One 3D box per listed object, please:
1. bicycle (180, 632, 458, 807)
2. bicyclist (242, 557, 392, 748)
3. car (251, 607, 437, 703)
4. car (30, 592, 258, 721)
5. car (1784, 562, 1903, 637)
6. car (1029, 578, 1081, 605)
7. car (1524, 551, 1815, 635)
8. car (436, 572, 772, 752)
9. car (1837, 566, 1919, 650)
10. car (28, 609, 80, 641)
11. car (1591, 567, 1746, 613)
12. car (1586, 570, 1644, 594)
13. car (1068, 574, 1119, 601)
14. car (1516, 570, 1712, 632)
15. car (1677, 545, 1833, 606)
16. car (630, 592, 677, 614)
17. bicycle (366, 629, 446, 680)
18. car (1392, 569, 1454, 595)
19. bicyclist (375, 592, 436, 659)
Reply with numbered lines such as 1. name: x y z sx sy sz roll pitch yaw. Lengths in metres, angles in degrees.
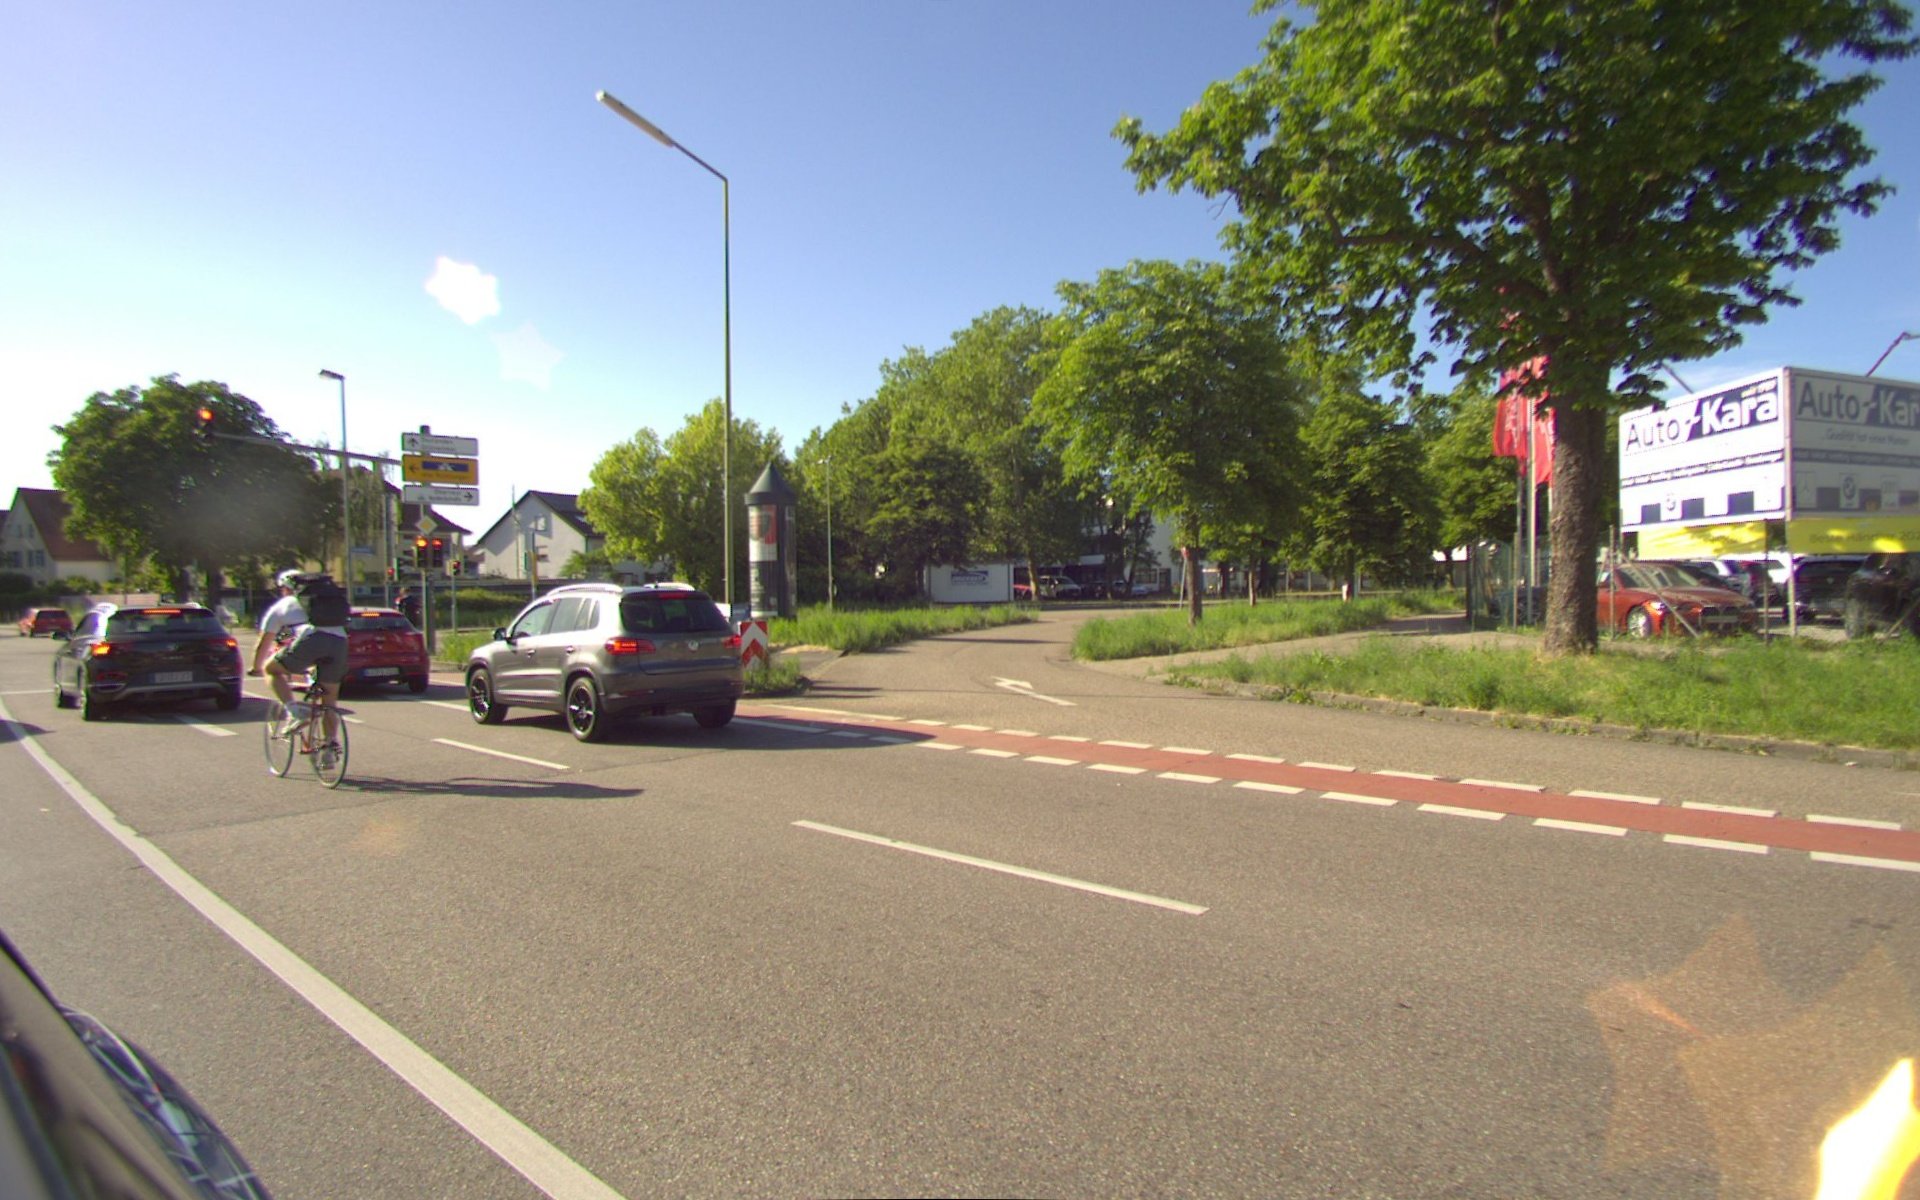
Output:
1. bicycle: -5.520 0.908 8.588 3.205 1.235 0.786 -1 0 35
2. bicyclist: -5.391 0.416 8.492 0.823 1.496 0.766 -2 0 34
3. car: -10.675 0.863 17.433 3.891 1.425 1.765 -1 0 43
4. car: -12.019 0.759 14.820 3.997 1.611 1.893 -2 0 41
5. car: 19.940 -0.030 22.794 1.834 1.517 3.943 -1 0 44
6. car: 7.443 -0.656 79.346 1.966 2.029 4.011 -2 0 -32
7. car: 13.184 -0.131 19.347 2.332 1.320 5.051 -2 0 6
8. car: -4.318 0.644 11.958 4.267 1.749 1.833 -2 0 41
9. car: 15.561 0.085 15.371 2.028 1.249 3.908 -2 0 19
10. car: -45.434 1.227 50.802 1.834 1.481 4.145 -2 1 -41
11. car: 23.935 -0.316 34.284 1.811 1.419 4.005 -2 0 -42
12. car: 49.171 -1.352 75.940 3.931 1.631 1.744 -2 2 -23
13. car: 10.723 -0.989 81.455 1.966 2.029 4.011 -2 0 -32
14. car: 16.843 0.028 26.182 4.002 1.473 1.720 -1 0 45
15. car: 28.600 -0.855 36.508 1.967 2.029 4.009 -2 0 -36
16. car: -24.150 0.192 79.785 1.977 1.568 3.989 -2 0 9
17. bicycle: -12.165 1.169 22.187 2.197 1.024 0.926 -2 0 44
18. car: 34.954 -1.352 76.397 3.931 1.809 2.016 -2 0 -19
19. bicyclist: -12.161 0.555 22.194 0.823 1.412 0.923 -2 0 44
